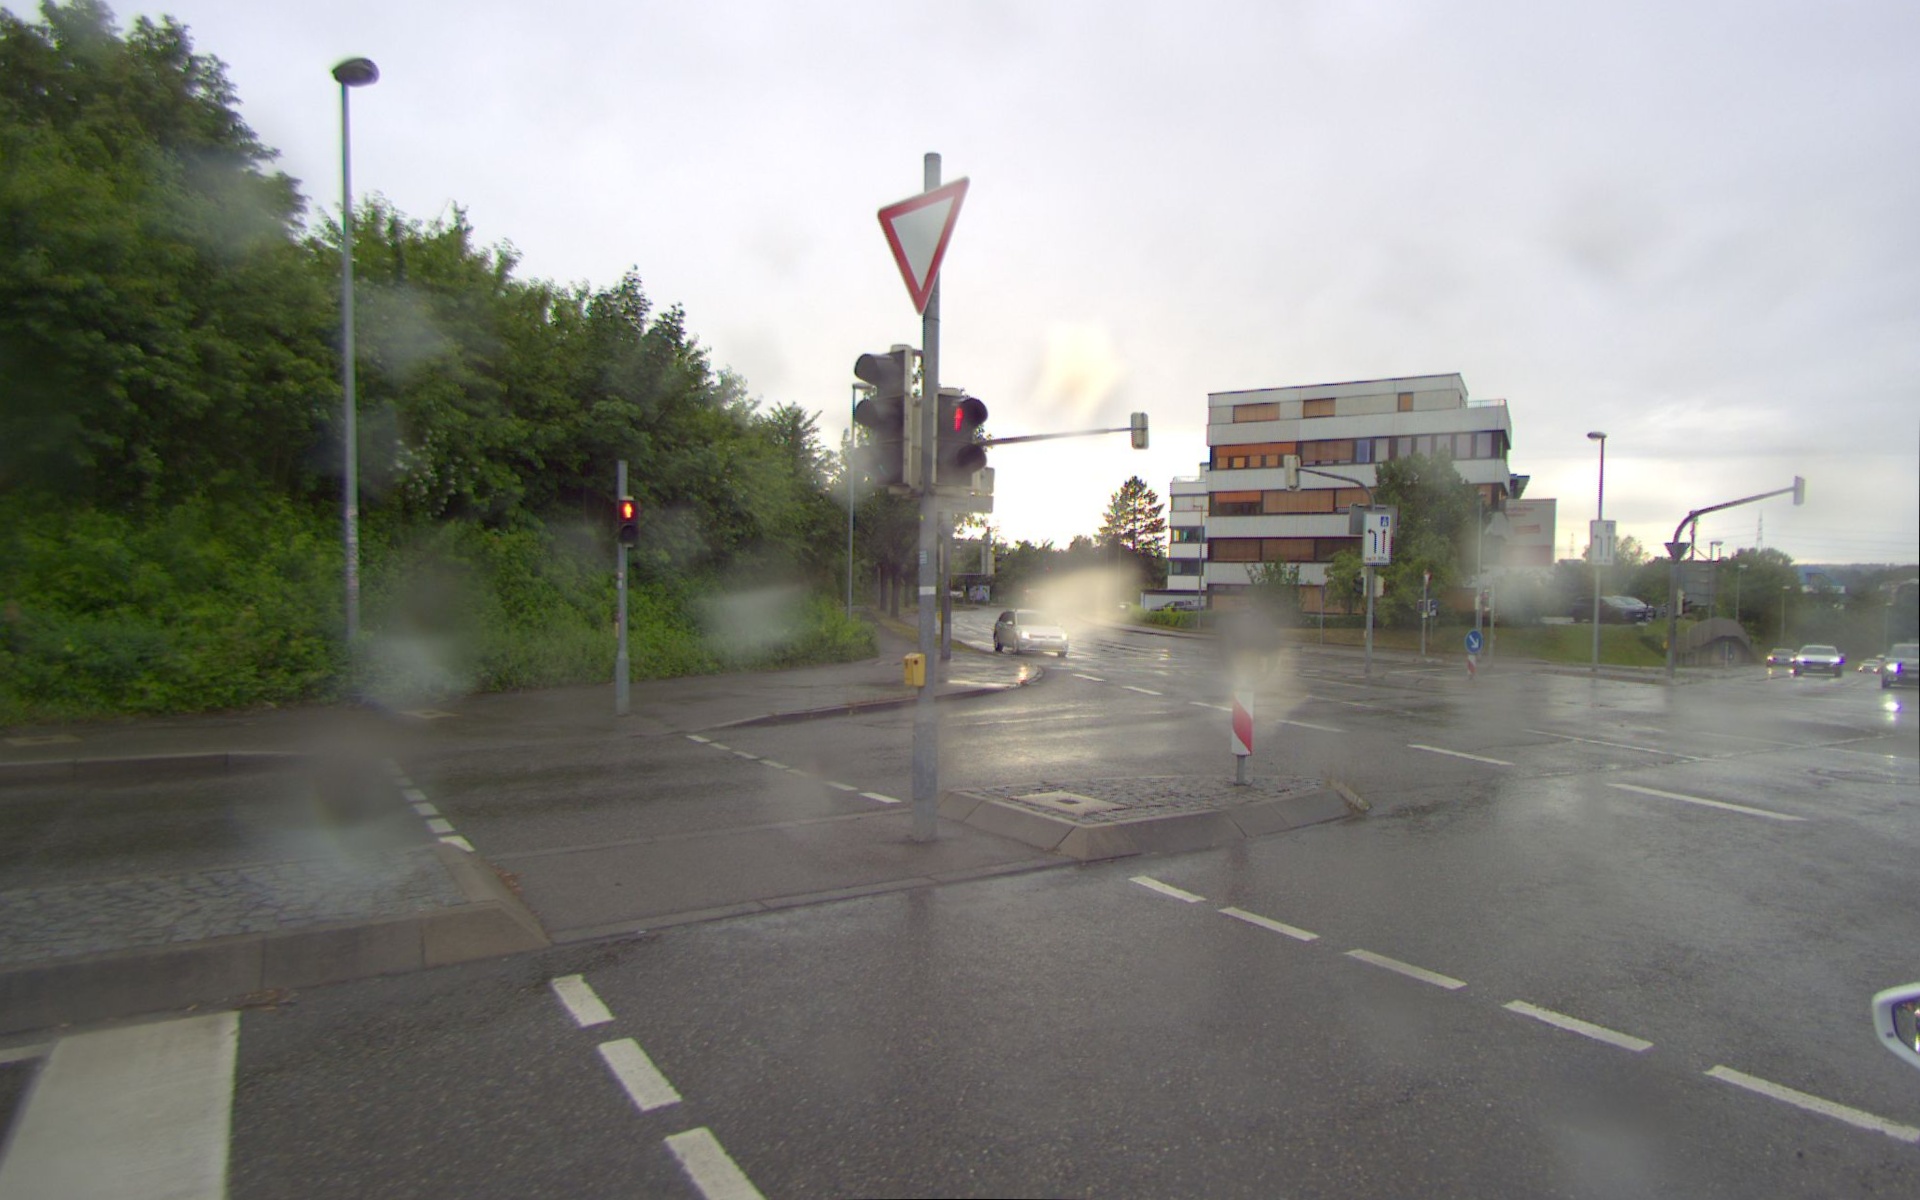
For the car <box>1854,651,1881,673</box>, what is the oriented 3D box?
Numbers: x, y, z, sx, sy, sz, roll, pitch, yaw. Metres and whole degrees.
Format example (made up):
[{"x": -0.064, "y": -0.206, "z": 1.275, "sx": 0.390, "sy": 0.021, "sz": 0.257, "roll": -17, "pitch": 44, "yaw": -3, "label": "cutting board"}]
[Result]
[{"x": 95.436, "y": 6.528, "z": 105.703, "sx": 1.971, "sy": 2.040, "sz": 3.979, "roll": 2, "pitch": 0, "yaw": 41, "label": "car"}]

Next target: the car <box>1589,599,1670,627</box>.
[{"x": 42.431, "y": 0.789, "z": 63.741, "sx": 1.871, "sy": 1.607, "sz": 3.987, "roll": 4, "pitch": -1, "yaw": -15, "label": "car"}]

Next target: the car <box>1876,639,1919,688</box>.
[{"x": 31.922, "y": 2.130, "z": 33.701, "sx": 1.643, "sy": 1.514, "sz": 3.977, "roll": 2, "pitch": -1, "yaw": 44, "label": "car"}]

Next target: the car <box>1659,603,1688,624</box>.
[{"x": 60.205, "y": 1.154, "z": 84.795, "sx": 1.803, "sy": 1.461, "sz": 3.988, "roll": 3, "pitch": -1, "yaw": 35, "label": "car"}]

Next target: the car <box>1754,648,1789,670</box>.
[{"x": 62.335, "y": 4.502, "z": 77.203, "sx": 1.874, "sy": 1.475, "sz": 3.984, "roll": 2, "pitch": 0, "yaw": 37, "label": "car"}]

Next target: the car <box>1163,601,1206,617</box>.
[{"x": 20.957, "y": 0.828, "z": 93.671, "sx": 3.686, "sy": 1.418, "sz": 2.000, "roll": 2, "pitch": 0, "yaw": 20, "label": "car"}]

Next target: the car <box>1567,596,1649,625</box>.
[{"x": 40.357, "y": 0.640, "z": 62.662, "sx": 1.873, "sy": 1.607, "sz": 3.982, "roll": 4, "pitch": -1, "yaw": -19, "label": "car"}]

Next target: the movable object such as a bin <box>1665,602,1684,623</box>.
[{"x": 53.964, "y": 0.951, "z": 75.908, "sx": 1.069, "sy": 1.455, "sz": 1.442, "roll": 3, "pitch": -1, "yaw": 35, "label": "movable object such as a bin"}]

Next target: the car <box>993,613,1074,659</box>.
[{"x": 2.431, "y": 1.169, "z": 34.314, "sx": 1.731, "sy": 1.381, "sz": 4.524, "roll": 2, "pitch": 0, "yaw": -9, "label": "car"}]

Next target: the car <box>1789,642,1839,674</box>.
[{"x": 43.628, "y": 2.949, "z": 51.306, "sx": 1.702, "sy": 1.514, "sz": 3.977, "roll": 2, "pitch": -1, "yaw": 44, "label": "car"}]
